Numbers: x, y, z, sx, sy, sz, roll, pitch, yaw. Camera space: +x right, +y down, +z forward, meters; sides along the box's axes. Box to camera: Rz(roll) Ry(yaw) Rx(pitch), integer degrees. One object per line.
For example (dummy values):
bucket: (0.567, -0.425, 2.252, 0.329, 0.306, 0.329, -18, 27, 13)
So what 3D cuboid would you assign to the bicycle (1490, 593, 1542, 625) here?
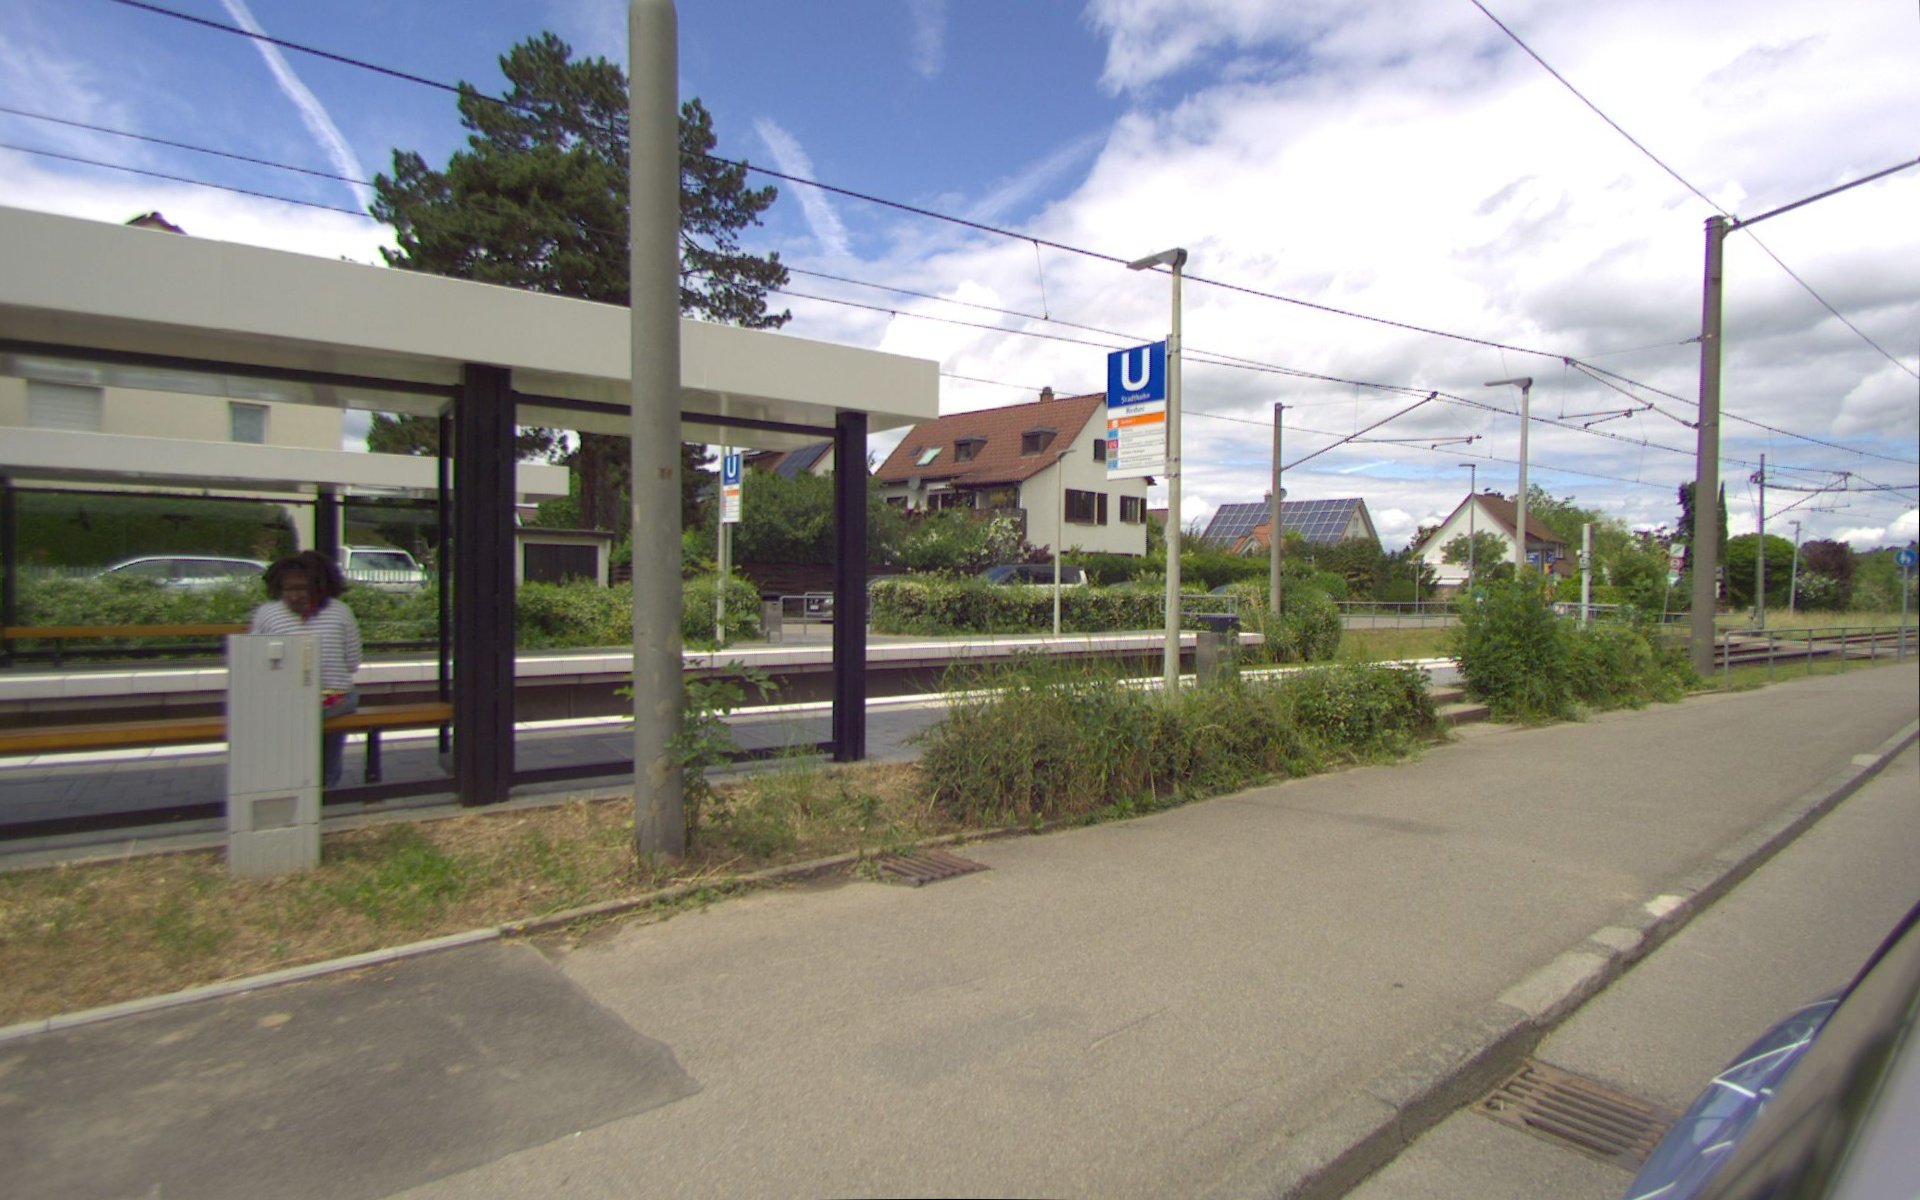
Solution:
bicycle: (22.155, 0.364, 40.304, 2.491, 1.056, 0.541, 4, 10, -35)

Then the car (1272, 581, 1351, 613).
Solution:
car: (19.204, -0.187, 55.321, 3.716, 1.643, 1.798, 1, 1, 41)

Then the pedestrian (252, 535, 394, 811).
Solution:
pedestrian: (-3.309, 0.355, 5.278, 0.390, 1.361, 0.485, 0, 0, 13)

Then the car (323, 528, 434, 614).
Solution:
car: (-15.133, -0.803, 26.230, 1.715, 1.967, 4.338, 0, 4, -40)

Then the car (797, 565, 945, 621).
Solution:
car: (-2.605, -0.231, 29.746, 3.923, 1.541, 1.890, 0, 1, -34)

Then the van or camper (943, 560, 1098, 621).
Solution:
van or camper: (2.016, -0.311, 32.822, 4.952, 1.848, 1.912, 0, 1, -36)

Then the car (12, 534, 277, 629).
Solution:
car: (-15.979, -0.341, 20.008, 3.930, 1.683, 1.779, 0, 0, -41)
